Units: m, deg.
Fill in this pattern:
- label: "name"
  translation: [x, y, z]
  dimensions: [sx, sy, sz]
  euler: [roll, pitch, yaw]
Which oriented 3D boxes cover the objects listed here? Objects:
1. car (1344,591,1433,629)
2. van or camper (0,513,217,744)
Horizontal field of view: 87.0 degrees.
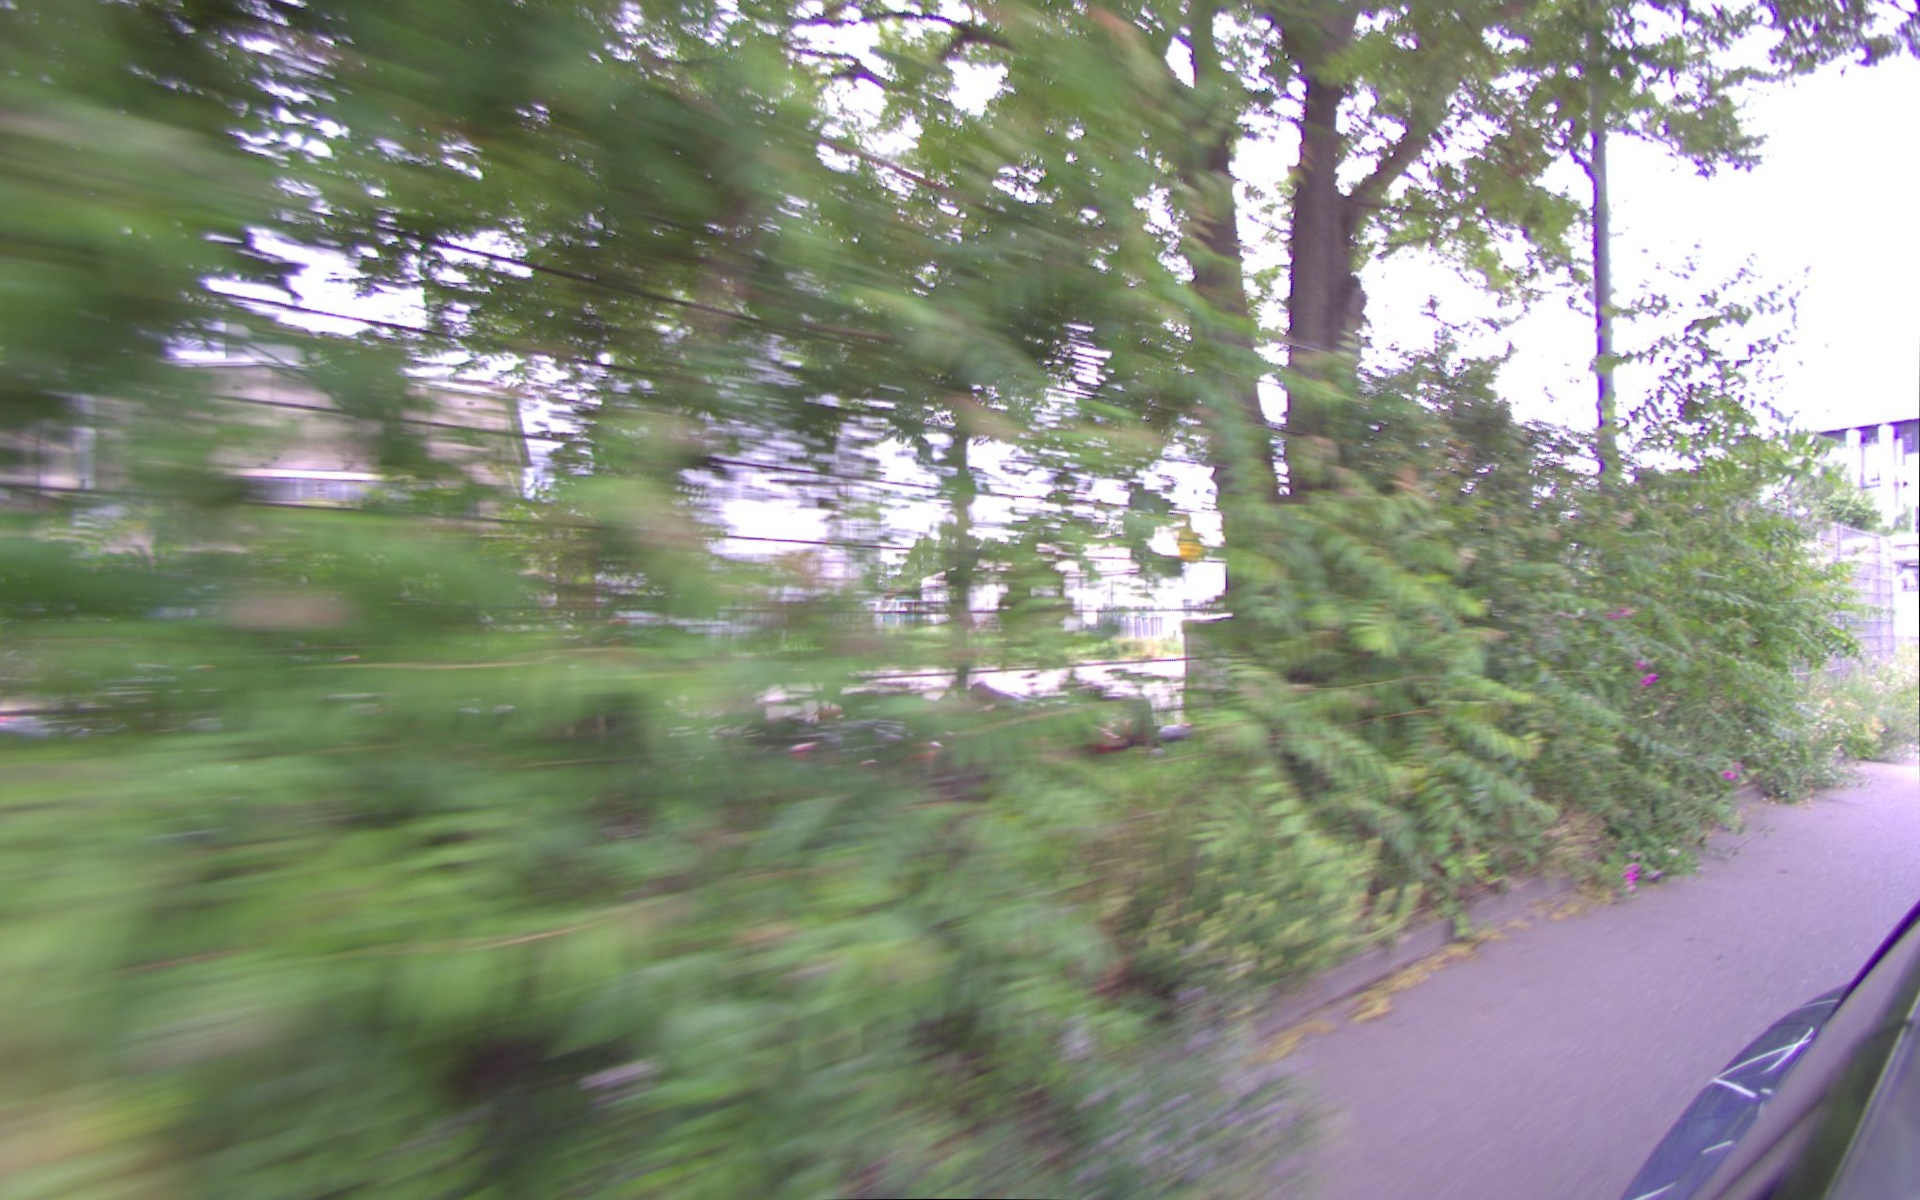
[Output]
- label: "car"
  translation: [23.853, 0.534, 56.516]
  dimensions: [1.959, 2.039, 4.345]
  euler: [0, 0, -27]
- label: "van or camper"
  translation: [-22.465, 0.606, 25.078]
  dimensions: [5.393, 4.588, 11.822]
  euler: [-2, 0, -42]
